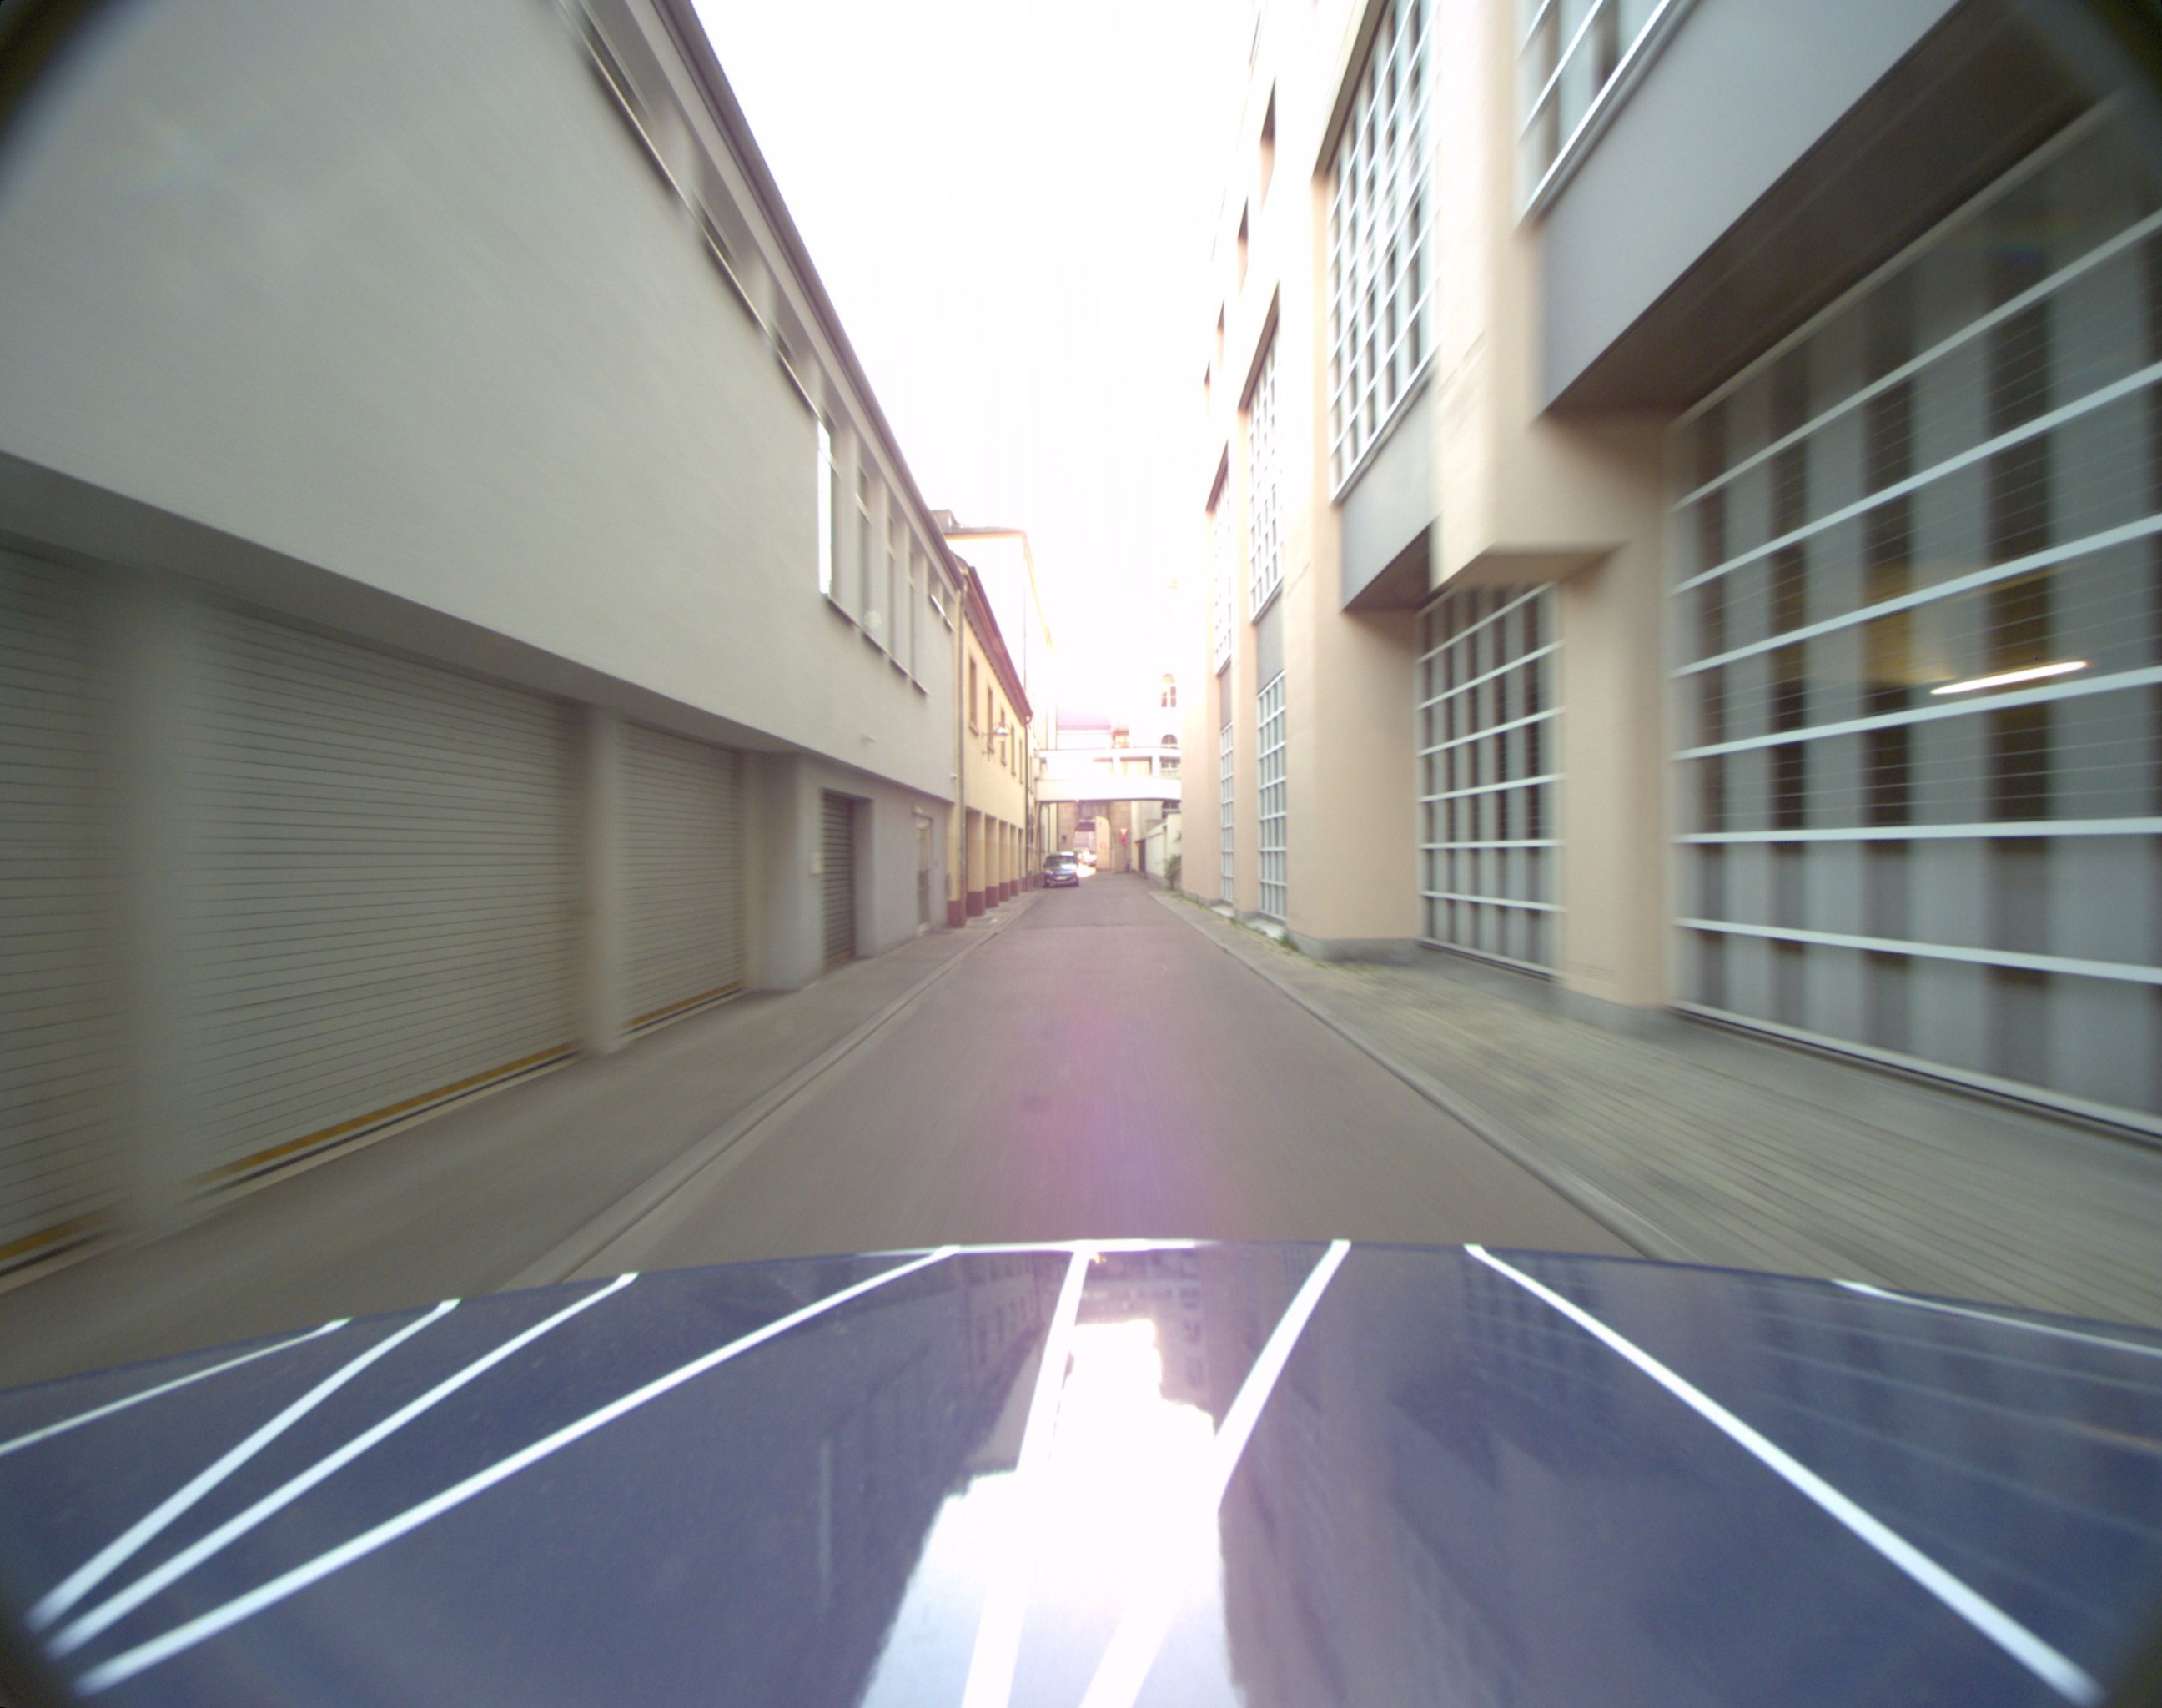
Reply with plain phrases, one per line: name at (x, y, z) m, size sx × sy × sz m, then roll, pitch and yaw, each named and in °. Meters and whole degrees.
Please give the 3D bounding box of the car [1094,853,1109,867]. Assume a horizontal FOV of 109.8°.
car at (2.810, 0.818, 105.396) m, size 1.998 × 1.805 × 4.000 m, roll -2°, pitch 0°, yaw 0°

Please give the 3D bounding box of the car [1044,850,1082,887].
car at (-0.882, 0.716, 39.923) m, size 1.764 × 1.756 × 4.750 m, roll -2°, pitch 0°, yaw 0°

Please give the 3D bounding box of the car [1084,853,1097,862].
car at (1.526, 0.569, 123.536) m, size 1.806 × 1.415 × 3.755 m, roll -2°, pitch 0°, yaw -1°
